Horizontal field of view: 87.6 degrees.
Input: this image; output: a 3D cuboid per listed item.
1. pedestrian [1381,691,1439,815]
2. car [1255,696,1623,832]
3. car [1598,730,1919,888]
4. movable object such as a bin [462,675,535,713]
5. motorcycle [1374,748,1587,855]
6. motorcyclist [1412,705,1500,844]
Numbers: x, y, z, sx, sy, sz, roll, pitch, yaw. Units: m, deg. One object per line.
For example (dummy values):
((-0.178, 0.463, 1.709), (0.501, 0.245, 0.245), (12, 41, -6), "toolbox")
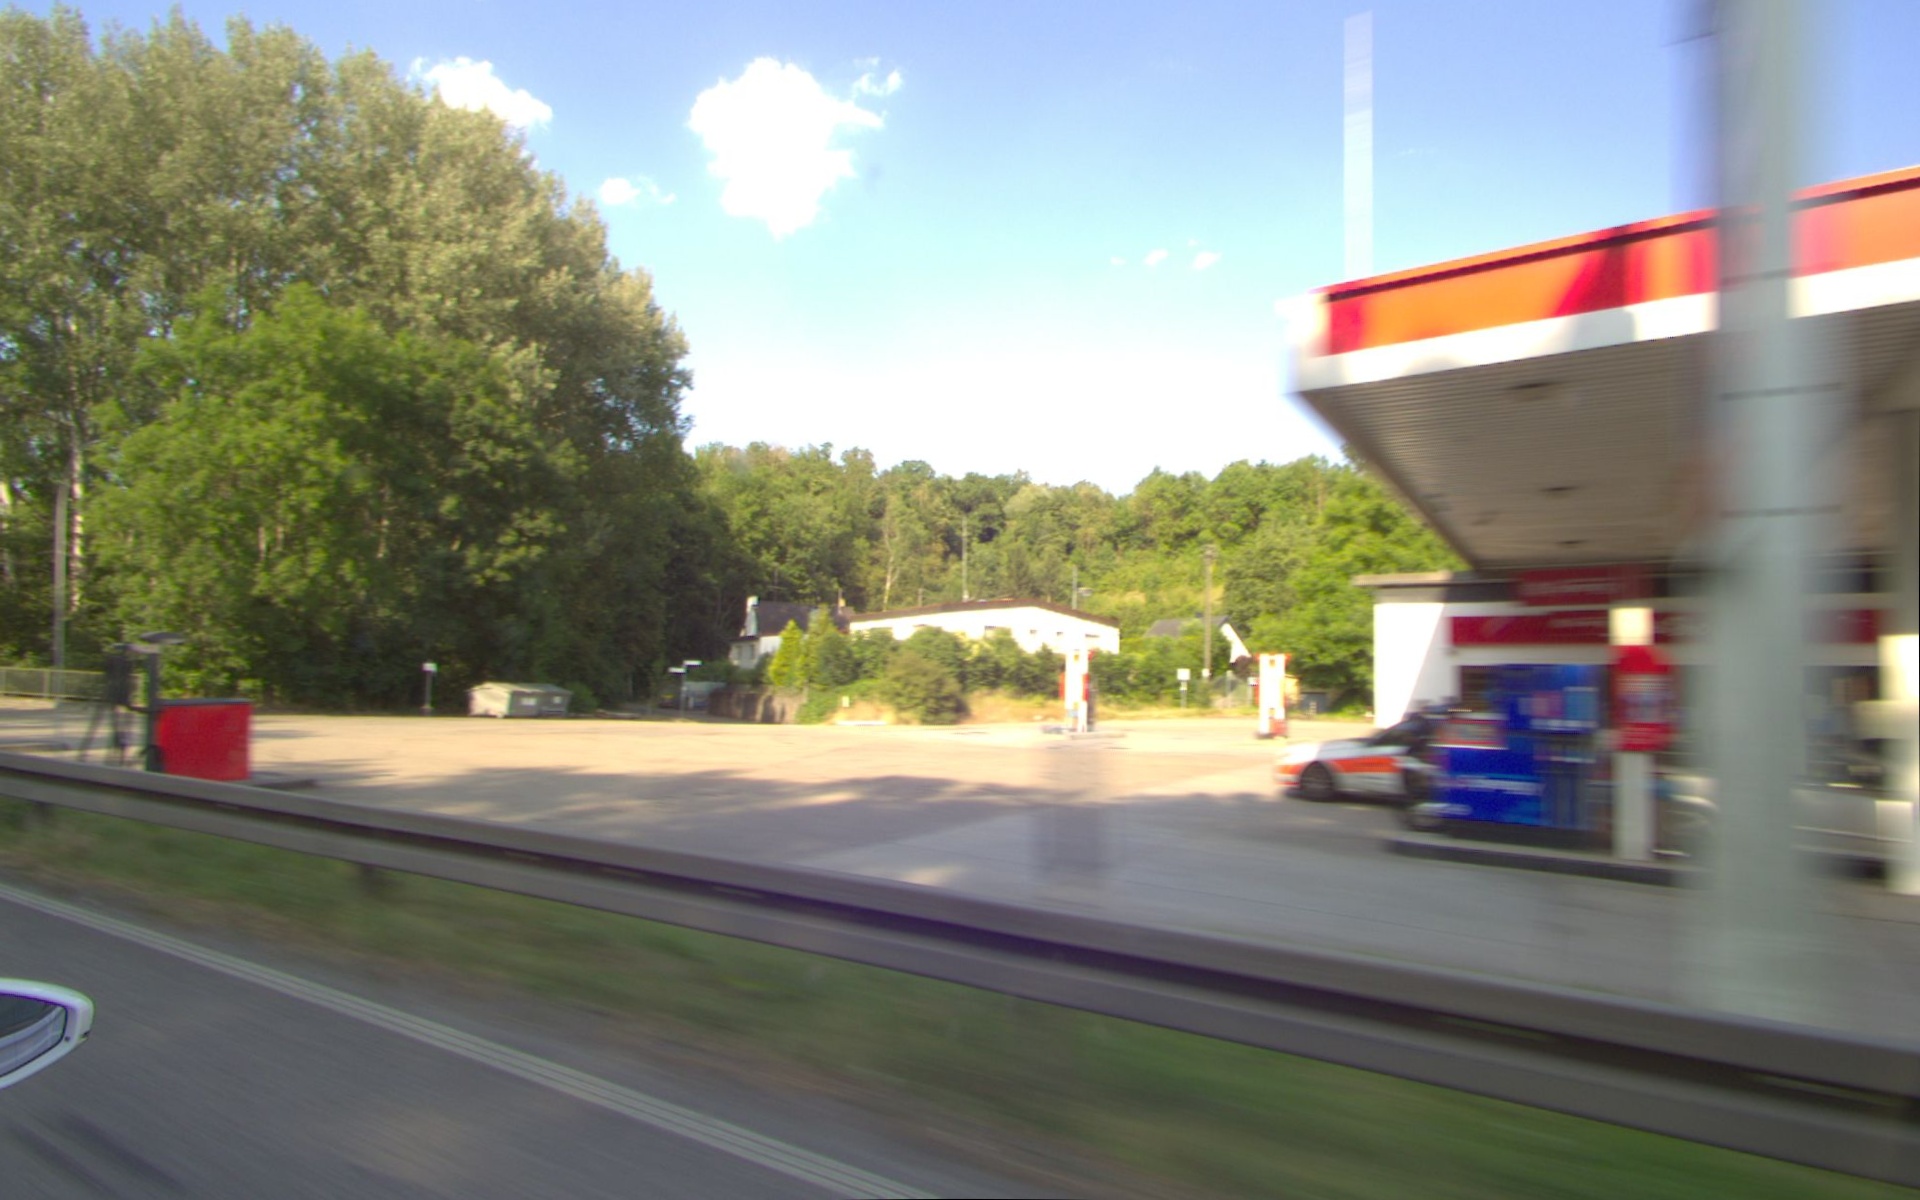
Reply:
((6.838, 2.294, 15.206), (0.695, 1.798, 0.616), (-1, -4, 34), "pedestrian")
((7.619, 2.492, 16.173), (5.107, 1.648, 2.090), (-1, -4, 33), "car")
((9.675, 2.282, 11.120), (4.330, 1.335, 1.839), (-1, -4, 35), "car")
((-19.219, 3.928, 41.702), (2.512, 1.436, 1.270), (0, -6, 20), "movable object such as a bin")
((6.480, 2.471, 12.541), (2.308, 1.024, 0.760), (-1, -4, 34), "motorcycle")
((6.296, 2.165, 12.695), (0.915, 1.624, 0.857), (-1, -4, 34), "motorcyclist")
